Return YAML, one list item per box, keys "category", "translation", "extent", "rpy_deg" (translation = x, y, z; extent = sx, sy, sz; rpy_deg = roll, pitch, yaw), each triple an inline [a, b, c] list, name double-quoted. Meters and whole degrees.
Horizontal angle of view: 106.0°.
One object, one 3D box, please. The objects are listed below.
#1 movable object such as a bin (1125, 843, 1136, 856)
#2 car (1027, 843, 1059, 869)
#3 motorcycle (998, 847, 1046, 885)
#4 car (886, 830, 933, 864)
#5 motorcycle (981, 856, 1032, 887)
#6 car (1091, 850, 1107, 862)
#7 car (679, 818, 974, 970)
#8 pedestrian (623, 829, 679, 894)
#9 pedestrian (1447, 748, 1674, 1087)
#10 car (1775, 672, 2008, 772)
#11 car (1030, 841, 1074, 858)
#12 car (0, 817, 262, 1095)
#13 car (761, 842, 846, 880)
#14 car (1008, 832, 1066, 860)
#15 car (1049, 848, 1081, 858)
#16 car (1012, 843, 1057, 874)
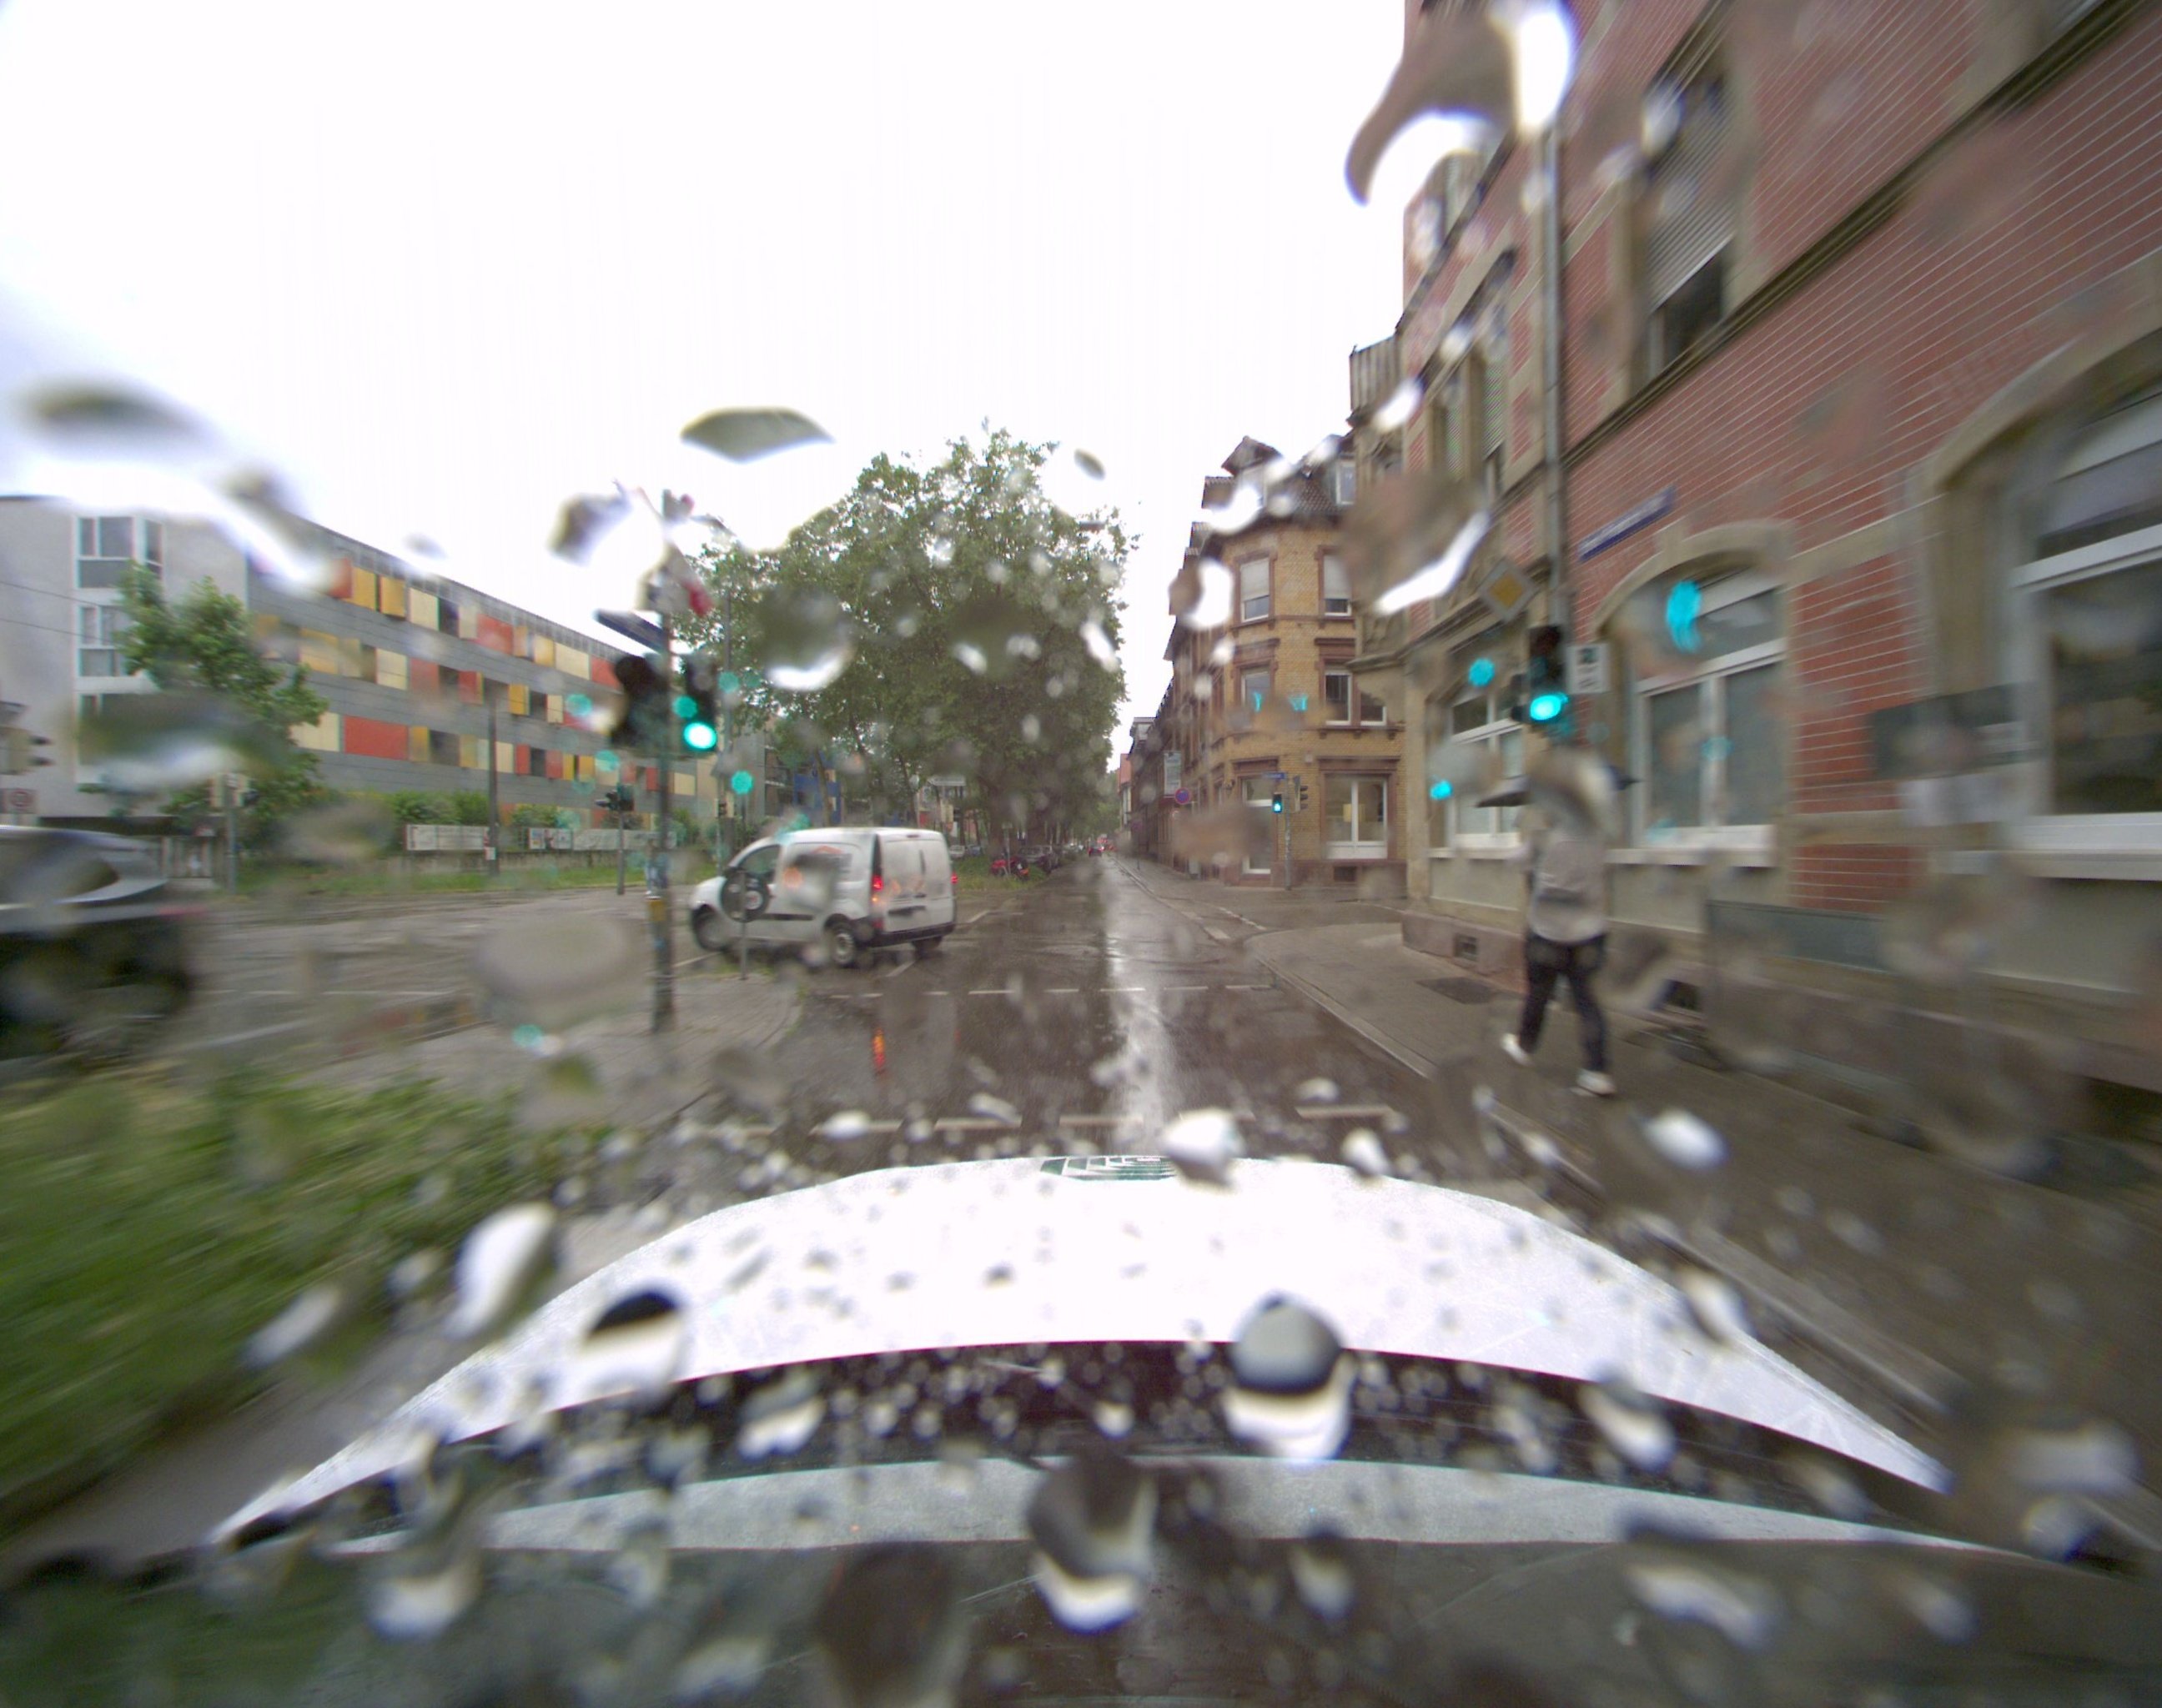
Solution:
- category: "movable object such as a bin"
  translation: [5.420, -0.464, 89.154]
  extent: [1.018, 1.301, 1.367]
  rpy_deg: [-4, 1, 1]
- category: "car"
  translation: [-2.360, 0.087, 51.263]
  extent: [1.723, 1.514, 4.208]
  rpy_deg: [1, 1, 1]
- category: "motorcycle"
  translation: [-2.432, 0.459, 33.468]
  extent: [2.083, 1.500, 0.776]
  rpy_deg: [1, 0, 44]
- category: "car"
  translation: [-11.062, -0.471, 53.012]
  extent: [2.049, 1.997, 5.430]
  rpy_deg: [2, 1, -2]
- category: "motorcycle"
  translation: [-3.002, 0.684, 32.793]
  extent: [0.874, 1.209, 2.116]
  rpy_deg: [1, 0, -45]
- category: "car"
  translation: [2.397, 0.243, 108.239]
  extent: [1.987, 1.640, 4.000]
  rpy_deg: [1, 0, 1]
- category: "car"
  translation: [-3.738, 0.460, 11.801]
  extent: [4.014, 1.849, 1.951]
  rpy_deg: [1, 1, 32]
- category: "pedestrian"
  translation: [-12.246, 0.210, 23.249]
  extent: [0.932, 1.800, 1.206]
  rpy_deg: [0, 0, 0]
- category: "pedestrian"
  translation: [2.975, 0.364, 5.164]
  extent: [0.782, 1.913, 0.930]
  rpy_deg: [-4, 0, 1]
- category: "car"
  translation: [22.910, -3.676, 23.137]
  extent: [4.722, 2.512, 2.120]
  rpy_deg: [0, 0, -4]
- category: "car"
  translation: [-2.844, -0.455, 80.322]
  extent: [4.013, 1.537, 1.847]
  rpy_deg: [1, 1, 31]
- category: "car"
  translation: [-7.281, 0.600, 3.938]
  extent: [2.051, 1.618, 4.668]
  rpy_deg: [0, 1, -3]
- category: "car"
  translation: [-11.584, 0.246, 34.338]
  extent: [1.896, 1.463, 4.391]
  rpy_deg: [0, 1, 2]
- category: "car"
  translation: [-3.735, -0.636, 68.879]
  extent: [4.600, 2.283, 2.025]
  rpy_deg: [0, 0, 34]
- category: "car"
  translation: [-2.474, -0.140, 125.264]
  extent: [4.502, 1.482, 1.786]
  rpy_deg: [-1, 0, 31]
- category: "car"
  translation: [-2.325, 0.196, 41.629]
  extent: [1.889, 1.485, 4.622]
  rpy_deg: [1, 1, 1]
